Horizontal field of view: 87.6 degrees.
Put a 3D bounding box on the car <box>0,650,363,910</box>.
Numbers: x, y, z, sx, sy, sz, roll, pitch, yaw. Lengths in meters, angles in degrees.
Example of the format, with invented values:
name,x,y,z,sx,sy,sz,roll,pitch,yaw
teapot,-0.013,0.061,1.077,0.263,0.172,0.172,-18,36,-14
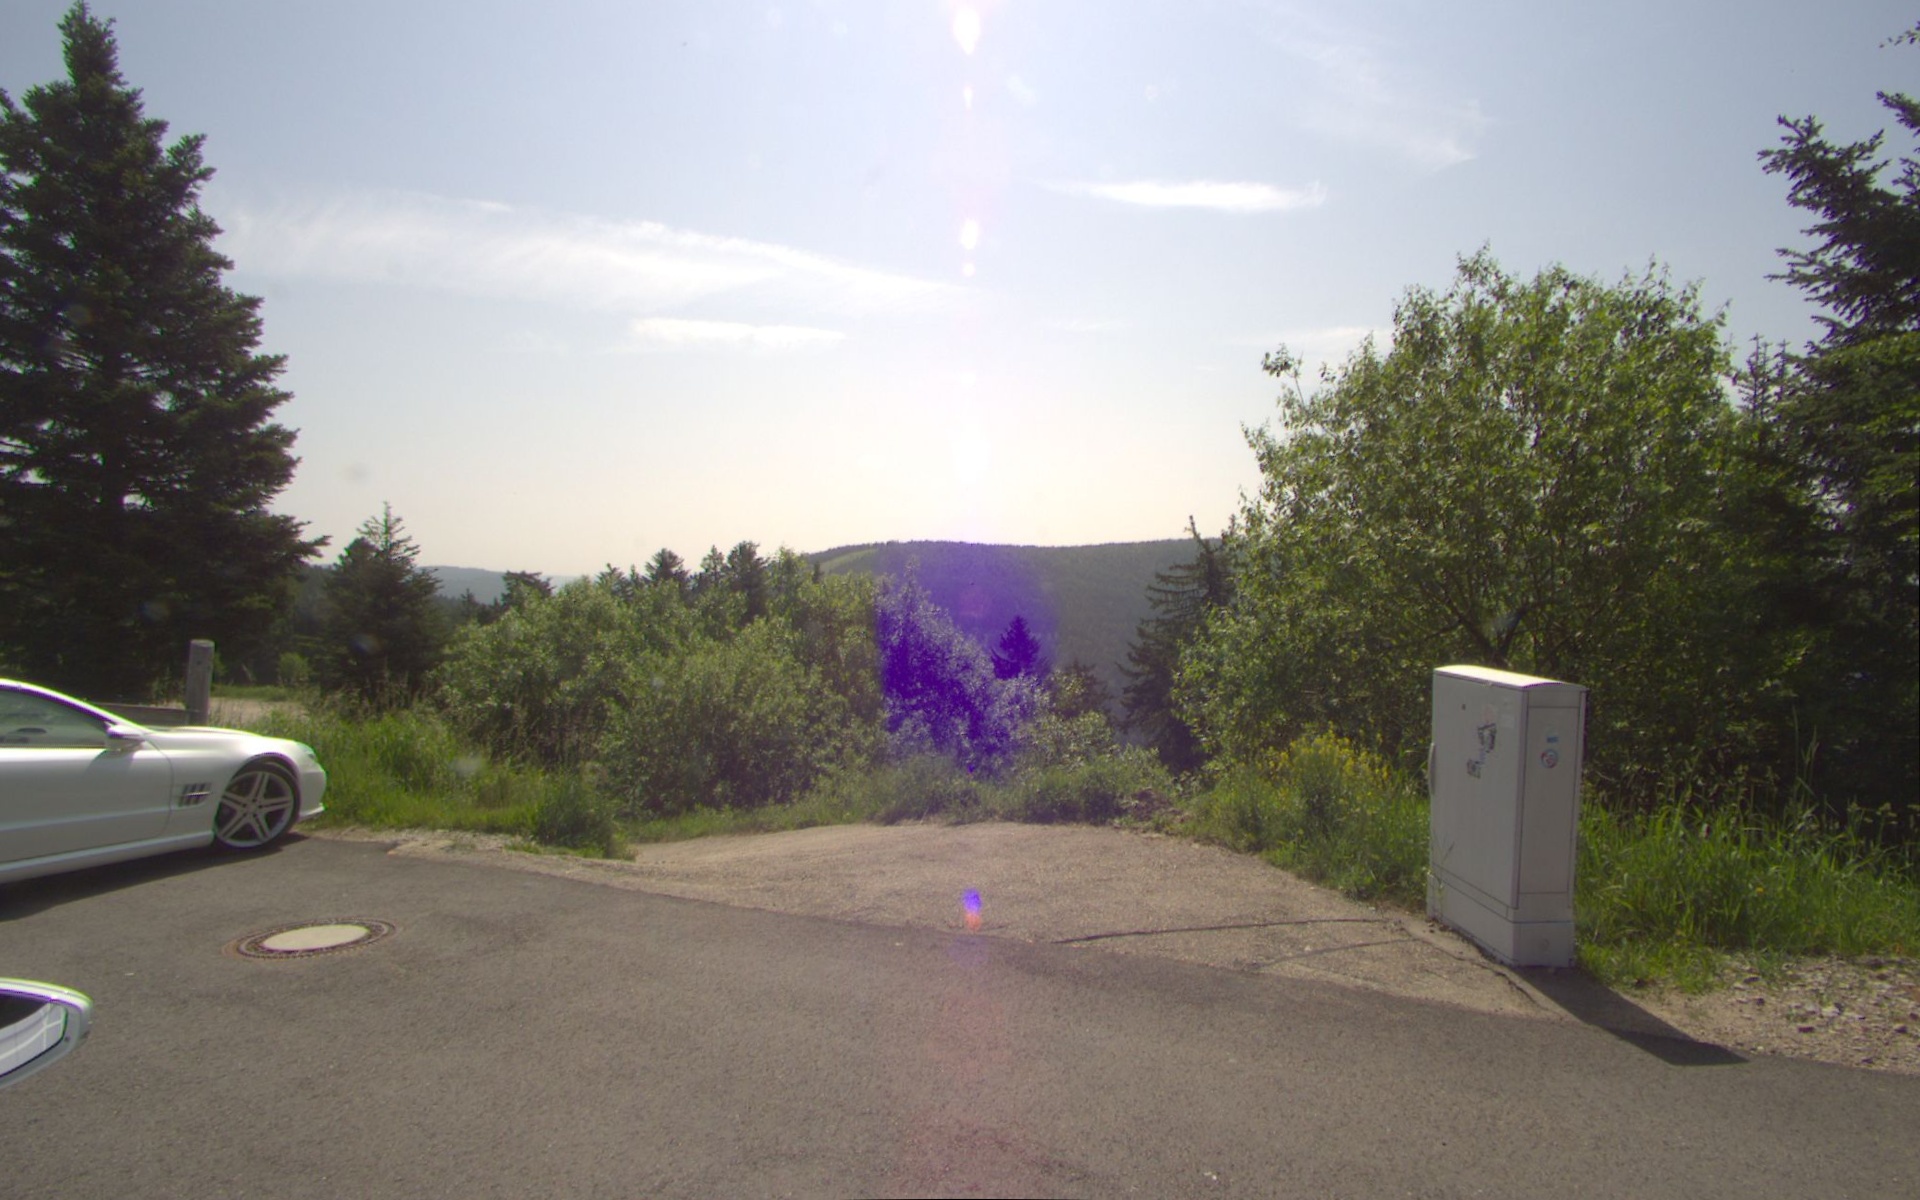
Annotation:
name,x,y,z,sx,sy,sz,roll,pitch,yaw
car,-5.831,0.972,5.766,1.722,1.312,4.415,1,-3,7
